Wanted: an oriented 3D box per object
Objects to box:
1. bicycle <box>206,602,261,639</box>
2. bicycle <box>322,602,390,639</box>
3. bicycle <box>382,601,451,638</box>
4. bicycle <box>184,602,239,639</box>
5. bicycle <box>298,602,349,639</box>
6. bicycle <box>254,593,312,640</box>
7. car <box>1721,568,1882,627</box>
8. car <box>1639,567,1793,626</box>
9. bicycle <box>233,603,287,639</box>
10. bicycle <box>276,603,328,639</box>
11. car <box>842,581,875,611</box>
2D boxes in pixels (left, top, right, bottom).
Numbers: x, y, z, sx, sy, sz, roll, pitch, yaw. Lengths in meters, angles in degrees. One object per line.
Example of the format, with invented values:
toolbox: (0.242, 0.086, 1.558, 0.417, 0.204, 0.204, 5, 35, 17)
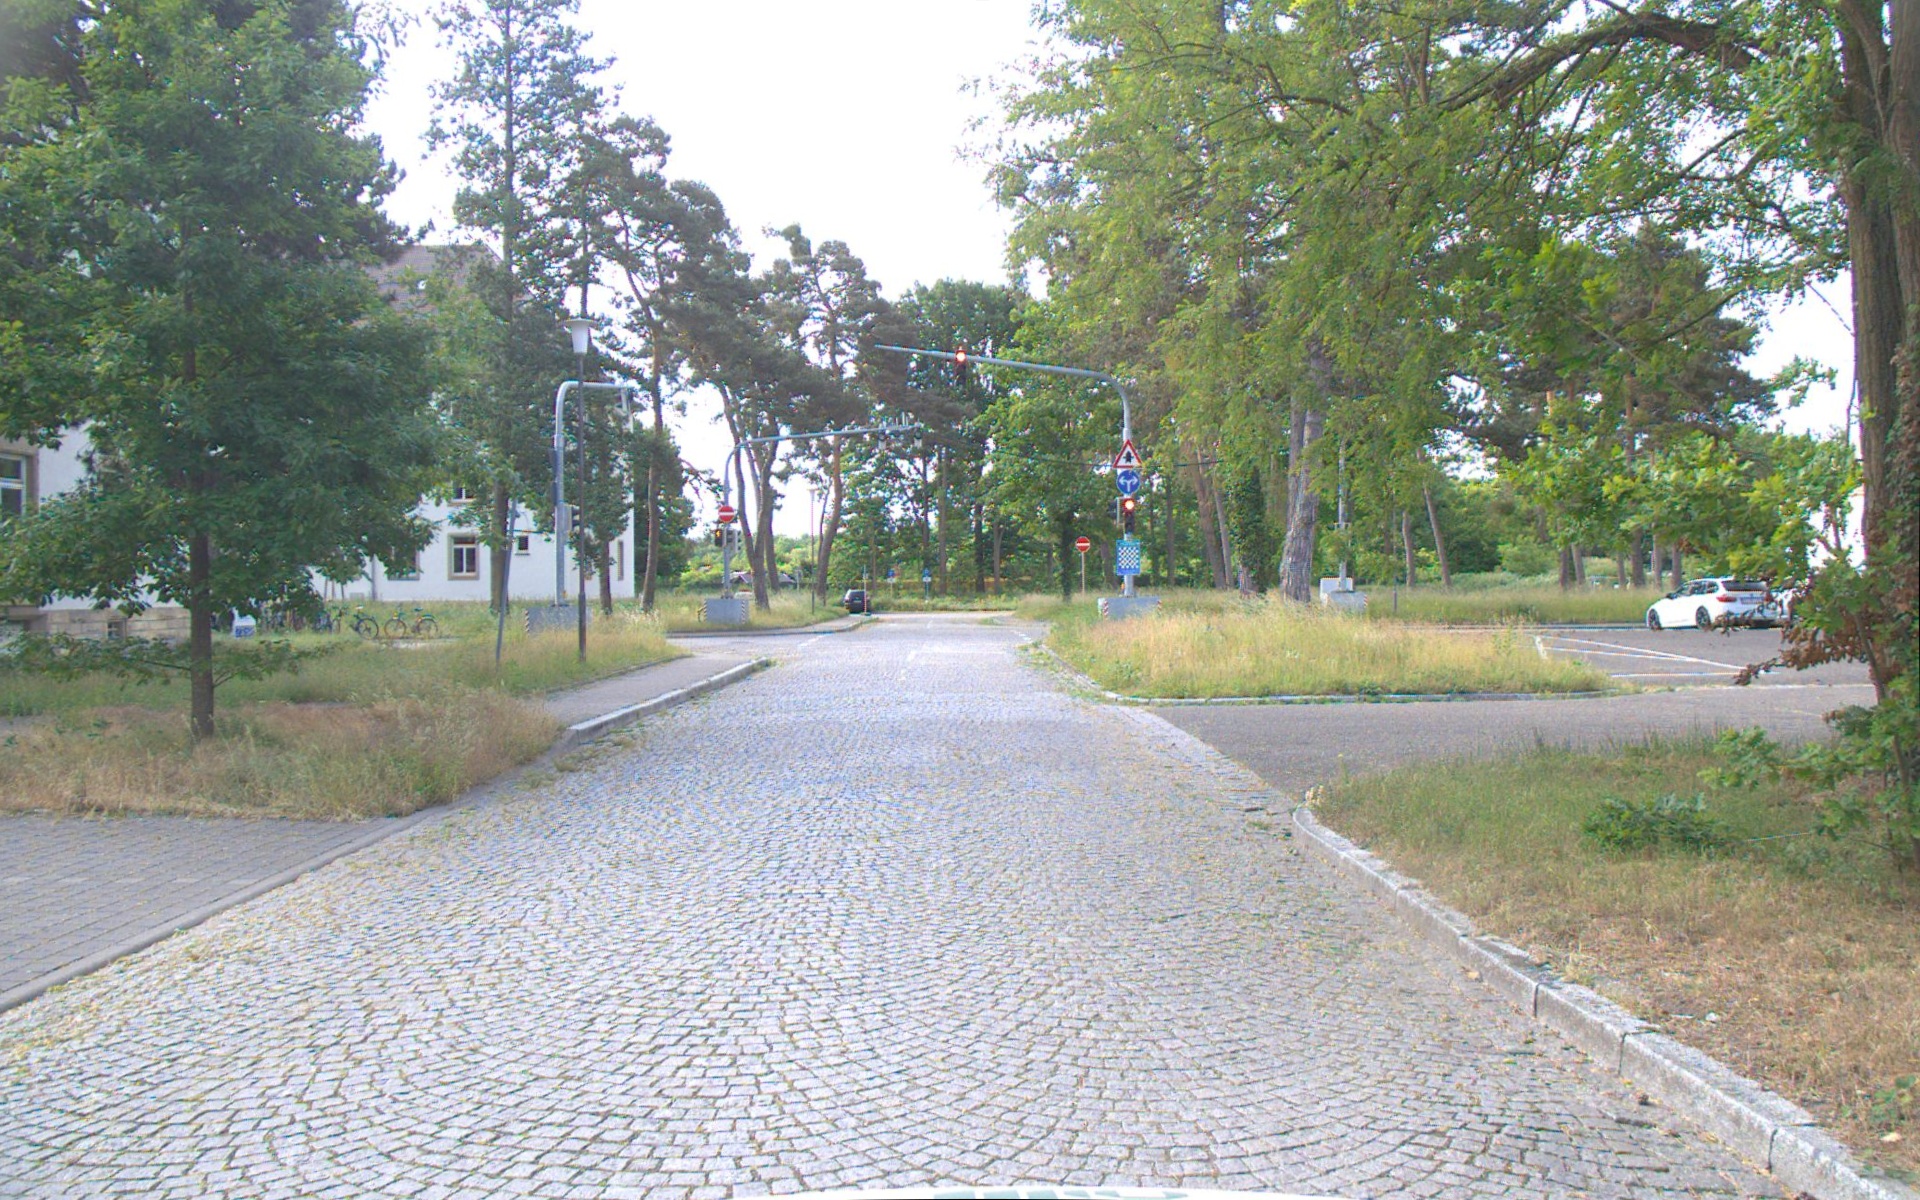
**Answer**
bicycle: (-22.924, 0.636, 52.220, 0.721, 1.095, 2.273, -1, 0, 0)
bicycle: (-18.672, 0.621, 51.142, 1.818, 1.095, 0.738, -1, 0, 1)
bicycle: (-16.821, 0.608, 51.209, 1.818, 1.095, 0.831, -1, 0, 1)
bicycle: (-23.644, 0.641, 52.281, 0.721, 1.095, 2.273, -1, 0, 0)
bicycle: (-20.146, 0.639, 52.371, 0.721, 1.095, 2.273, -1, 0, 0)
bicycle: (-21.511, 0.509, 52.625, 0.721, 1.410, 2.711, -1, 0, 0)
car: (23.198, -0.034, 45.794, 1.954, 1.507, 4.421, -1, -1, -4)
car: (20.733, -0.065, 45.576, 1.954, 1.507, 4.421, -1, -1, -4)
bicycle: (-22.297, 0.651, 52.723, 0.721, 1.095, 2.273, -1, 0, 0)
bicycle: (-20.775, 0.653, 52.282, 0.721, 1.095, 2.273, -1, 0, 0)
car: (-6.667, -0.287, 108.694, 2.014, 1.878, 3.999, -1, 0, -1)
